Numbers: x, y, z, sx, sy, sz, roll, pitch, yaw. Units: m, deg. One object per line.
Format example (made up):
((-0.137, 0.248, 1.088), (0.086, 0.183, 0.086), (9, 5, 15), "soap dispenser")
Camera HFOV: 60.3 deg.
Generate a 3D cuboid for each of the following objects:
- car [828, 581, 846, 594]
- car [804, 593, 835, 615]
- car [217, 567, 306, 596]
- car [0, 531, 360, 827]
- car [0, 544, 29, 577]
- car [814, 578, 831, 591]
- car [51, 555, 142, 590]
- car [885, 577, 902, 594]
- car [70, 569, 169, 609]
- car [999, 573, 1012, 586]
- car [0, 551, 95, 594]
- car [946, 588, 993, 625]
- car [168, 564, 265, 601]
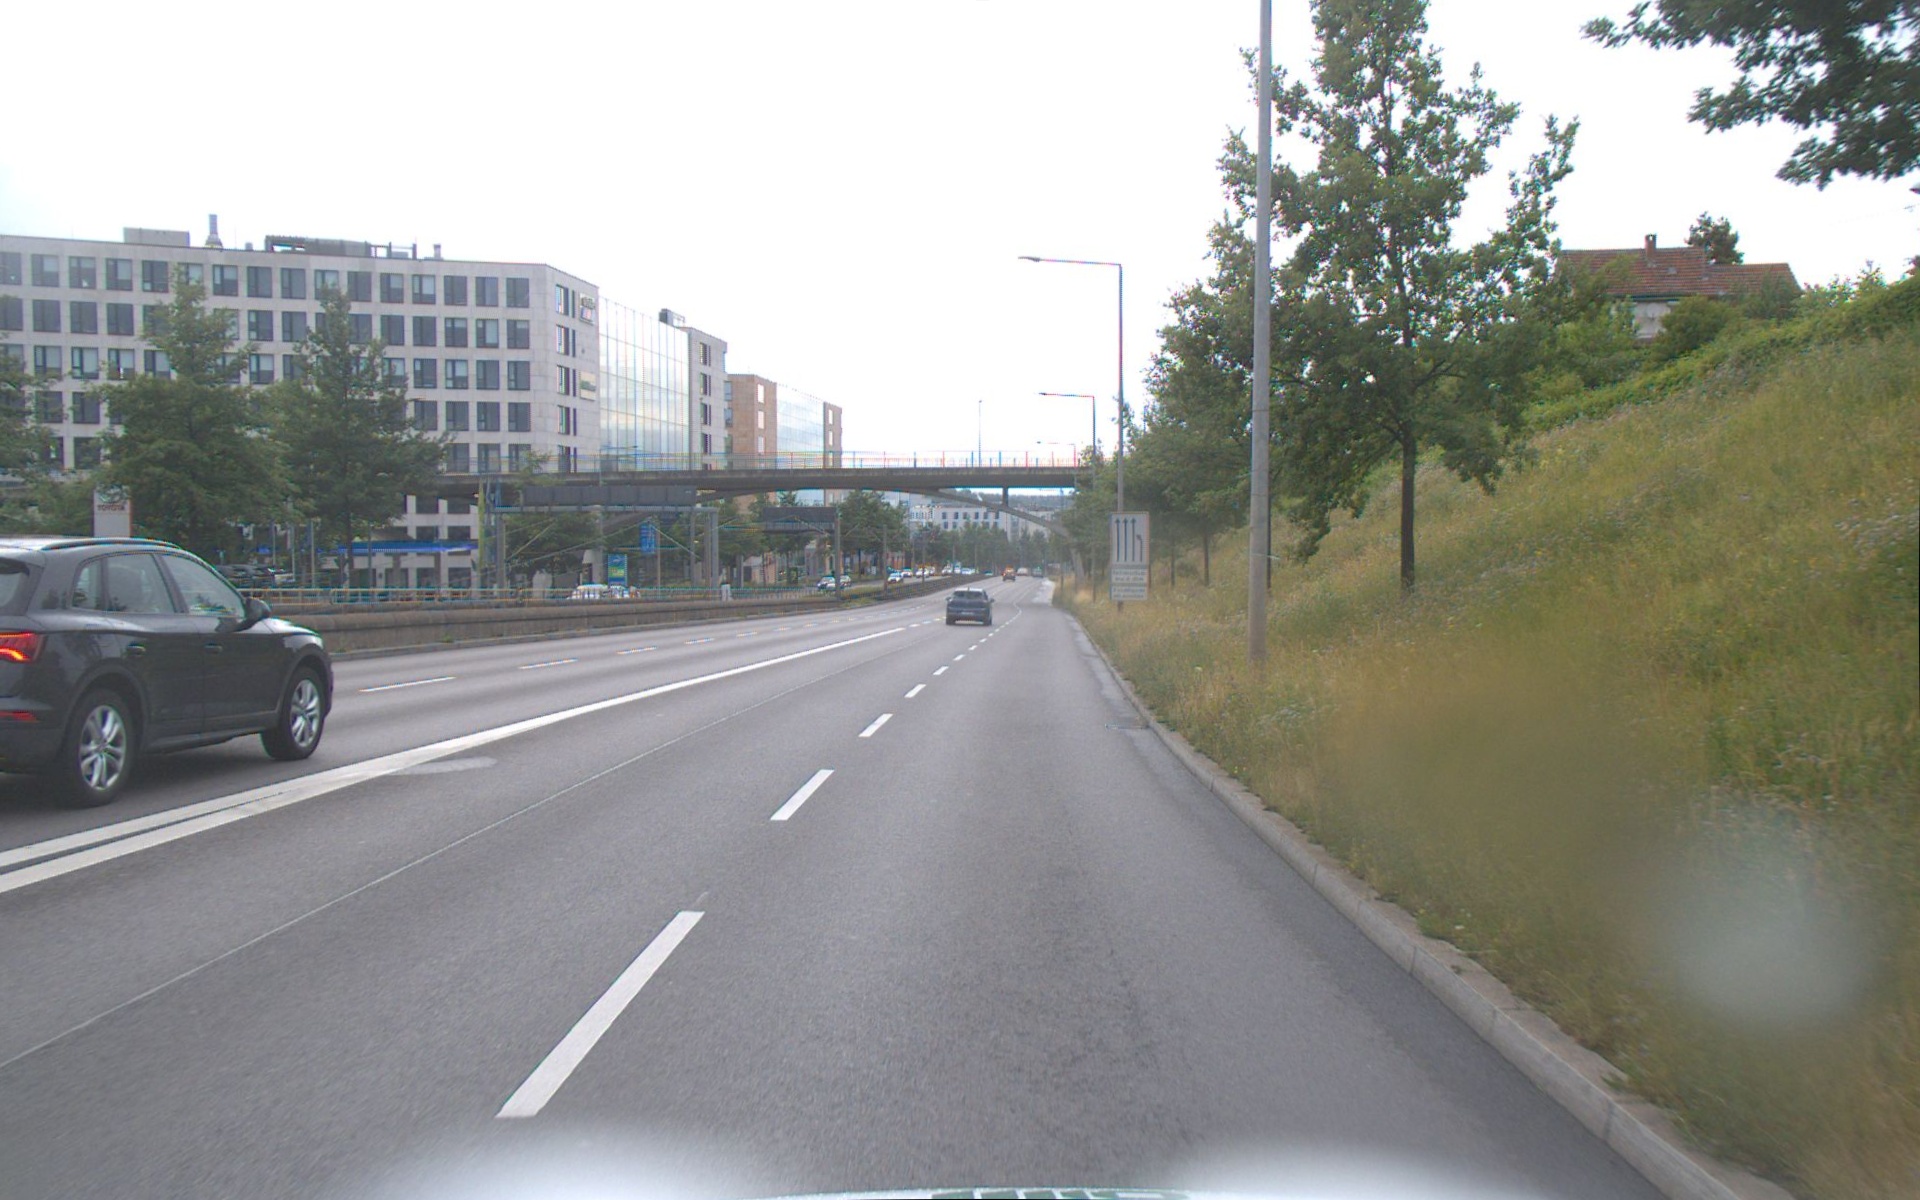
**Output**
((-13.115, -1.346, 177.046), (1.486, 1.445, 3.480), (1, 1, 3), "car")
((-10.207, 0.273, 120.542), (1.712, 1.445, 3.479), (3, 0, 3), "car")
((-37.236, -0.993, 88.214), (3.903, 1.377, 1.851), (3, 1, 5), "car")
((-5.958, 0.422, 11.594), (1.715, 1.645, 4.749), (1, 0, 1), "car")
((-52.665, -2.187, 89.167), (3.906, 1.679, 1.822), (2, 3, 0), "car")
((-15.668, -1.816, 188.646), (1.486, 1.445, 3.480), (1, 1, 3), "car")
((-46.549, -1.507, 89.193), (3.902, 1.679, 2.002), (3, 3, 8), "car")
((-8.960, -1.968, 222.806), (1.952, 2.048, 4.003), (2, 3, 2), "car")
((-38.444, -0.506, 75.704), (3.939, 1.679, 1.983), (2, 1, -27), "car")
((6.888, -3.128, 251.536), (1.825, 1.779, 4.001), (2, 3, 0), "car")
((-46.278, -1.404, 83.783), (3.902, 1.908, 2.002), (3, 3, 8), "car")
((0.420, 0.257, 66.656), (1.712, 1.445, 3.480), (0, 0, 3), "car")
((-37.452, -0.885, 83.384), (3.903, 1.679, 2.001), (3, 1, 5), "car")
